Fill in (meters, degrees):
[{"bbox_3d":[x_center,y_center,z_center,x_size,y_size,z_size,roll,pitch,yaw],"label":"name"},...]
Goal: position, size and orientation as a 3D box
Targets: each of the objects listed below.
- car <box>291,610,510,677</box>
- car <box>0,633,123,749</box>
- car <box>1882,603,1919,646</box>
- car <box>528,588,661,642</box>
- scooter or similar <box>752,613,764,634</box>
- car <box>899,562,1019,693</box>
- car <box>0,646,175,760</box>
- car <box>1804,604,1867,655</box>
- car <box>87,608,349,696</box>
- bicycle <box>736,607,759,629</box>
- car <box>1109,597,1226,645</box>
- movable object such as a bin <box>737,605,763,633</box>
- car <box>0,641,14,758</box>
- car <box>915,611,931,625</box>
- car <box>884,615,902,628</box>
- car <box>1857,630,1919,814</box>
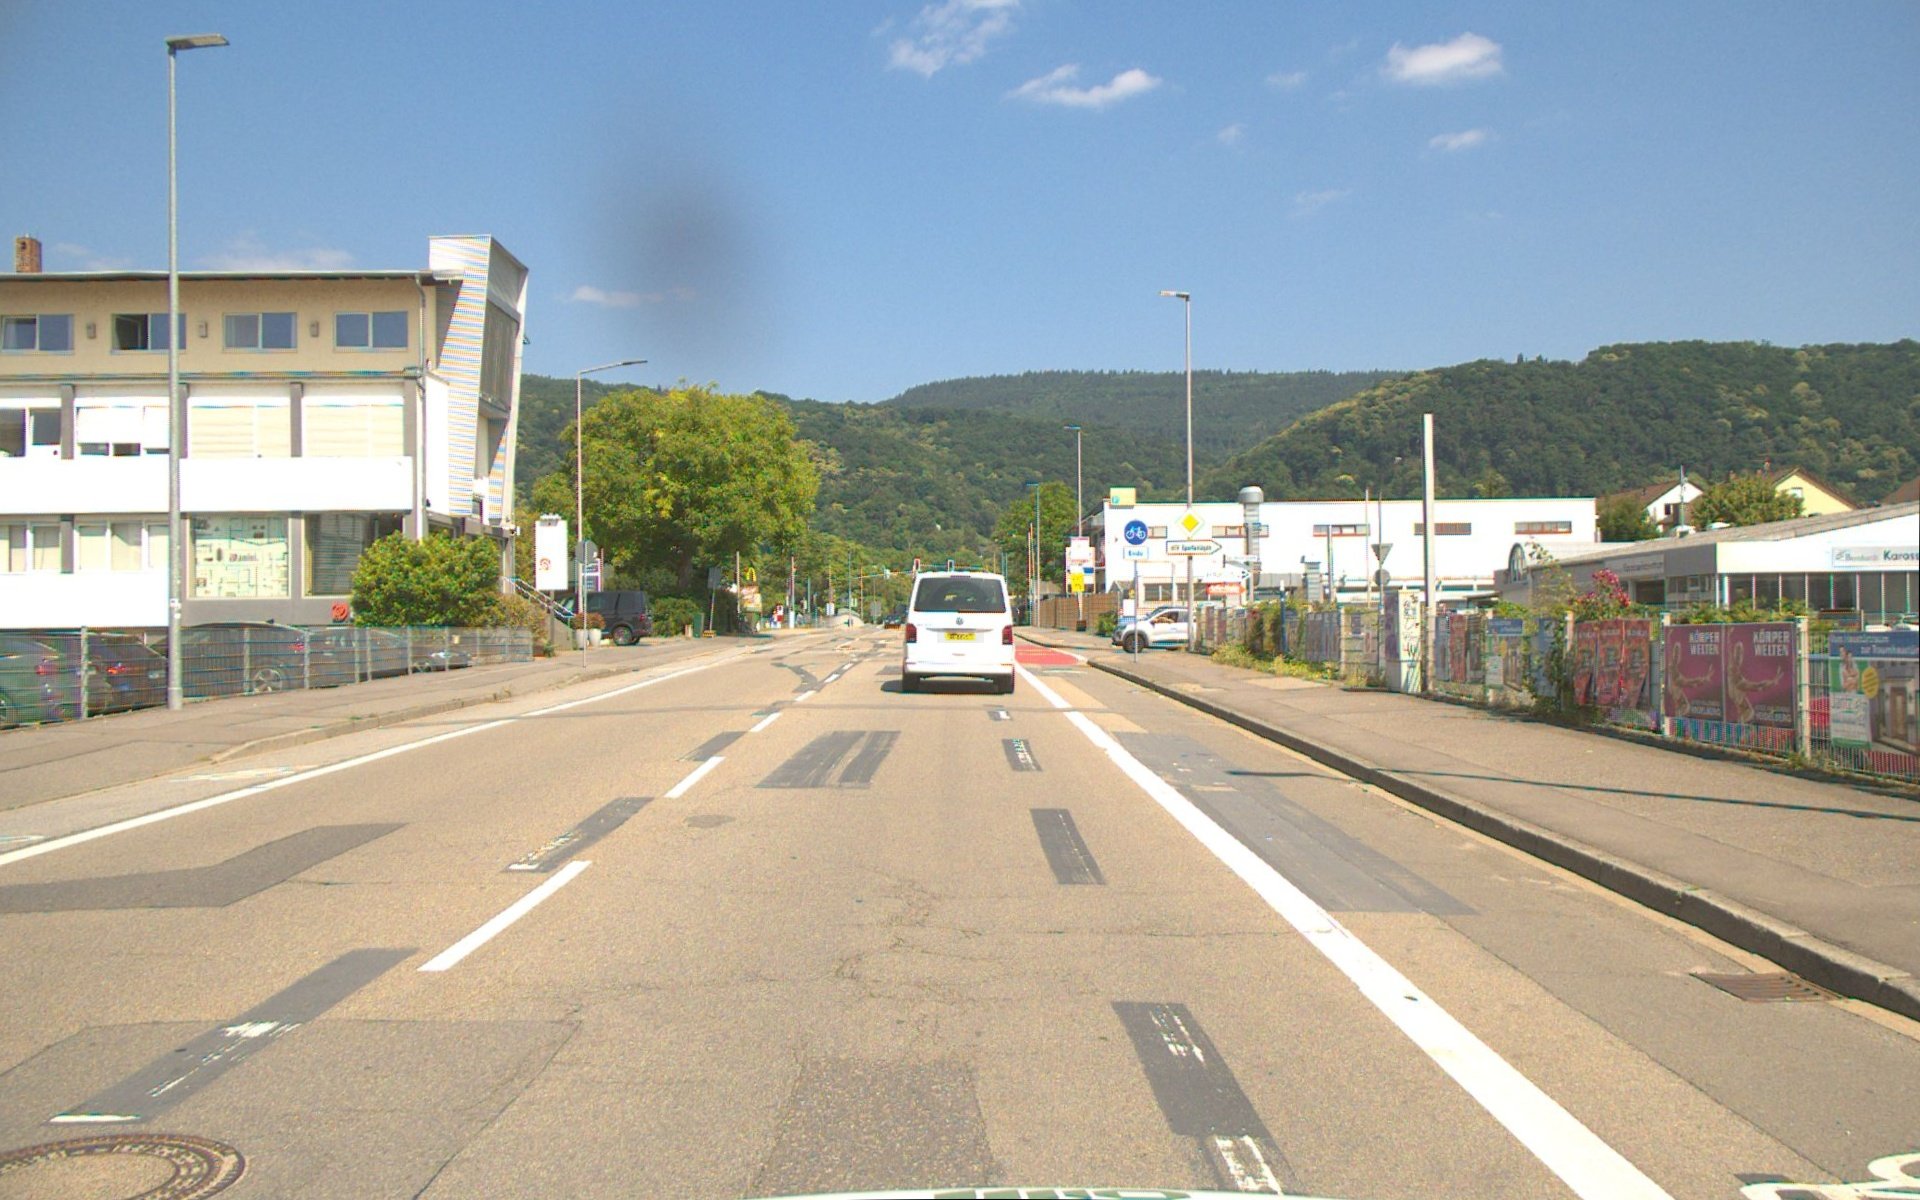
[{"bbox_3d":[-13.594,1.049,40.401,4.644,1.507,2.047,-1,0,-2],"label":"car"},{"bbox_3d":[-13.804,1.142,22.378,3.908,1.468,1.857,3,-3,-3],"label":"car"},{"bbox_3d":[34.595,0.920,60.161,1.754,1.490,3.819,1,-1,28],"label":"car"},{"bbox_3d":[-13.263,0.543,60.236,4.478,1.898,2.090,0,0,-6],"label":"car"},{"bbox_3d":[-11.221,1.309,91.989,0.634,1.147,1.620,2,-1,-7],"label":"scooter or similar"},{"bbox_3d":[-0.102,0.453,28.748,1.896,2.096,4.542,0,0,-2],"label":"car"},{"bbox_3d":[-14.054,1.456,24.455,3.909,1.516,1.857,3,-3,-5],"label":"car"},{"bbox_3d":[31.641,1.041,59.790,1.955,1.676,3.994,1,1,28],"label":"car"},{"bbox_3d":[-14.426,0.993,32.345,4.212,1.586,1.993,-1,0,-5],"label":"car"},{"bbox_3d":[-11.320,0.947,88.281,1.006,1.137,2.764,2,-1,-4],"label":"bicycle"},{"bbox_3d":[6.623,0.665,53.031,3.589,1.510,1.728,0,0,1],"label":"car"},{"bbox_3d":[-12.405,1.108,97.727,1.421,1.618,1.304,-1,0,-10],"label":"movable object such as a bin"},{"bbox_3d":[-13.993,1.119,20.108,3.812,1.470,1.822,3,-3,-2],"label":"car"},{"bbox_3d":[-4.240,2.070,189.609,1.812,1.616,3.999,-1,0,-1],"label":"car"},{"bbox_3d":[-7.527,2.373,184.750,1.954,1.394,4.324,-1,0,-3],"label":"car"},{"bbox_3d":[10.400,1.127,15.021,3.753,1.645,1.886,0,0,36],"label":"car"}]
